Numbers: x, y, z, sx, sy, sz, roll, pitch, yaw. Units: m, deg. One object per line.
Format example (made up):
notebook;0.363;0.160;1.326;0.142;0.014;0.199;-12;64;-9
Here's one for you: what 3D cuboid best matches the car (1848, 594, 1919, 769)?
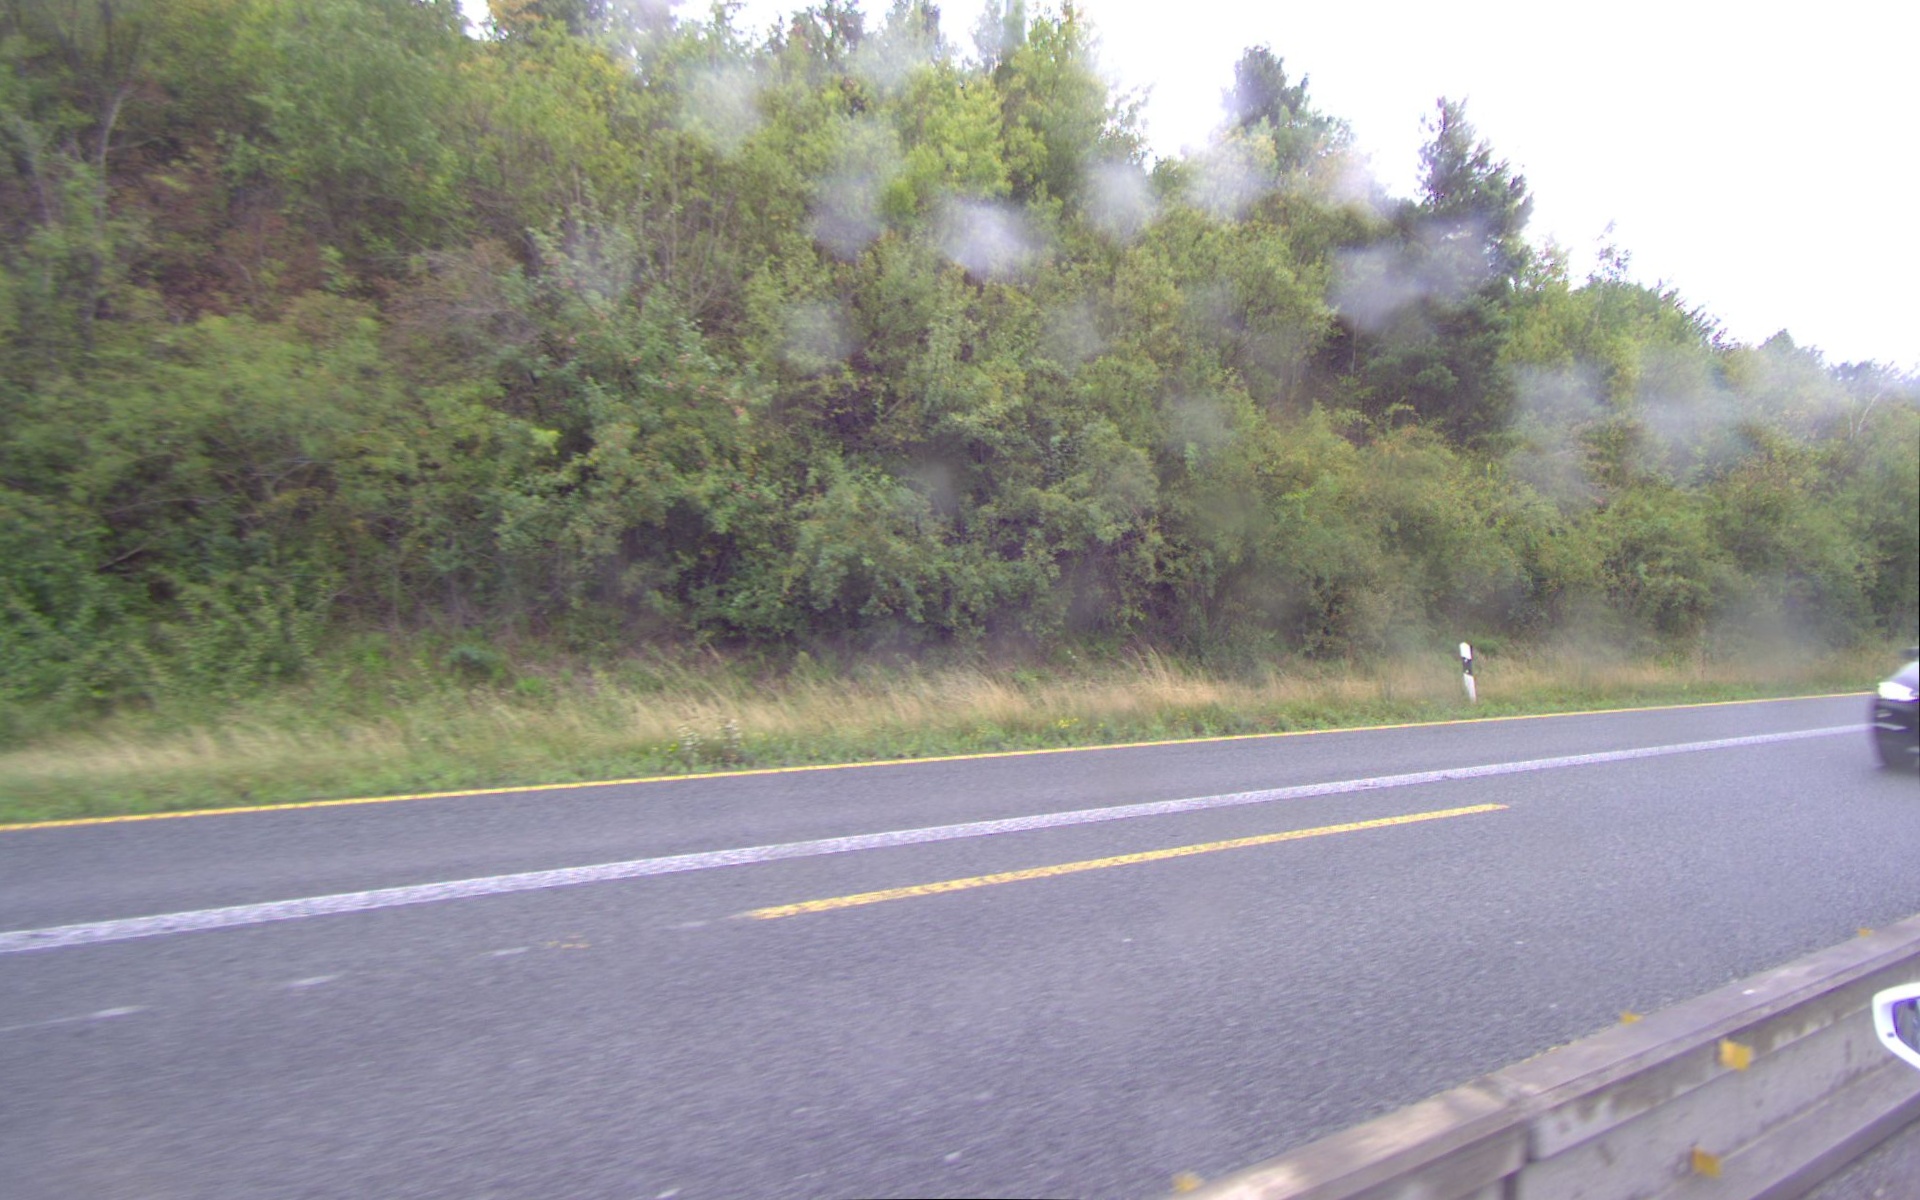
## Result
car;11.008;0.819;10.155;4.068;1.655;1.802;2;0;-29
